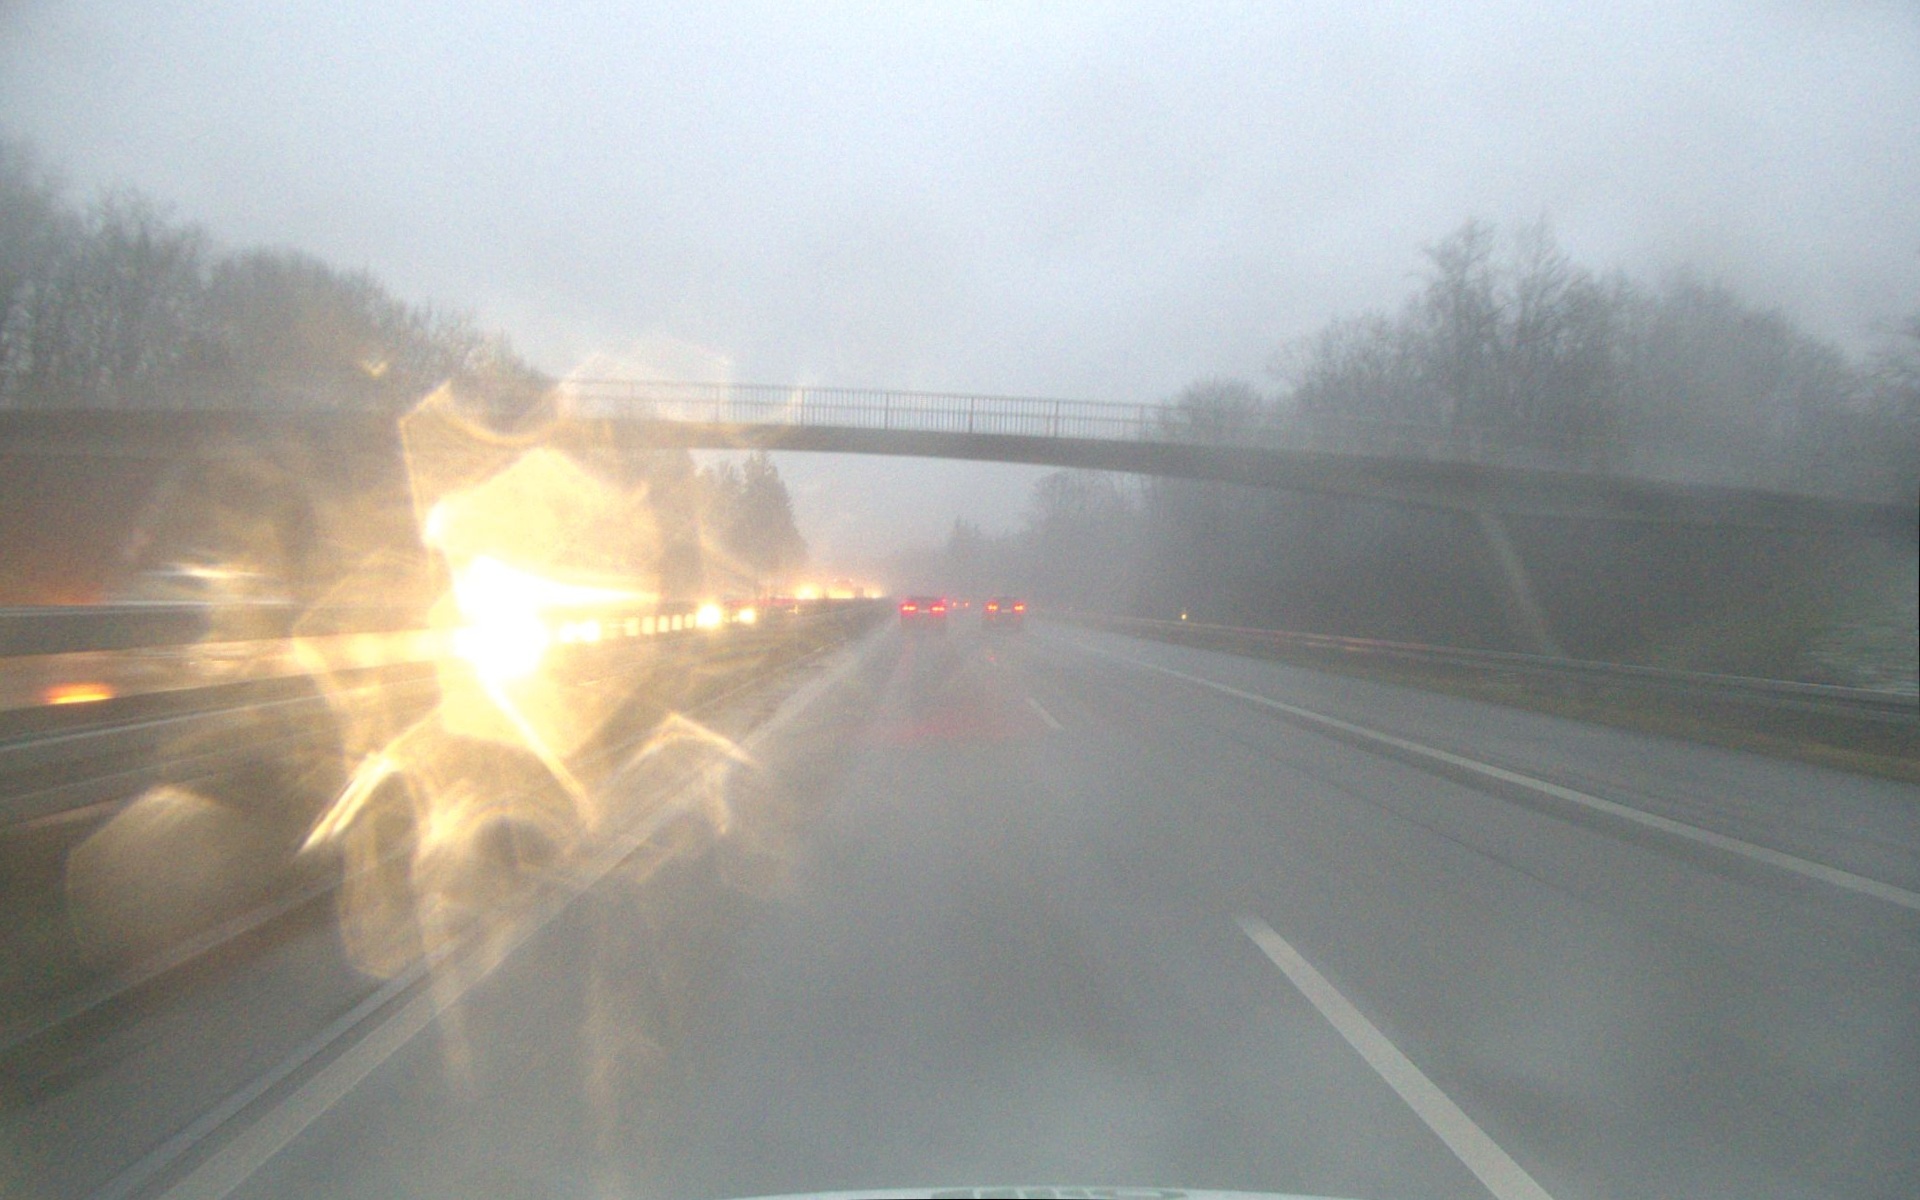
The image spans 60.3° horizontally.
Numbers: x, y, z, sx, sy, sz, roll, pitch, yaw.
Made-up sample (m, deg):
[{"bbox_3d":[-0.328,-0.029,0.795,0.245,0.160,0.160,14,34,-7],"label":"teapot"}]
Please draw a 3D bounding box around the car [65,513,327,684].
[{"bbox_3d":[-11.988,-0.017,26.356,1.953,2.454,4.678,1,0,0],"label":"car"}]

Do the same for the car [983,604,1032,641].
[{"bbox_3d":[2.246,1.054,79.223,2.029,1.727,4.459,1,0,-2],"label":"car"}]

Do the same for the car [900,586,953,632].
[{"bbox_3d":[-1.399,0.361,67.674,1.947,1.798,4.170,1,0,-4],"label":"car"}]

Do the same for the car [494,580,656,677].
[{"bbox_3d":[-7.711,0.517,33.680,1.953,1.746,5.366,2,0,0],"label":"car"}]
